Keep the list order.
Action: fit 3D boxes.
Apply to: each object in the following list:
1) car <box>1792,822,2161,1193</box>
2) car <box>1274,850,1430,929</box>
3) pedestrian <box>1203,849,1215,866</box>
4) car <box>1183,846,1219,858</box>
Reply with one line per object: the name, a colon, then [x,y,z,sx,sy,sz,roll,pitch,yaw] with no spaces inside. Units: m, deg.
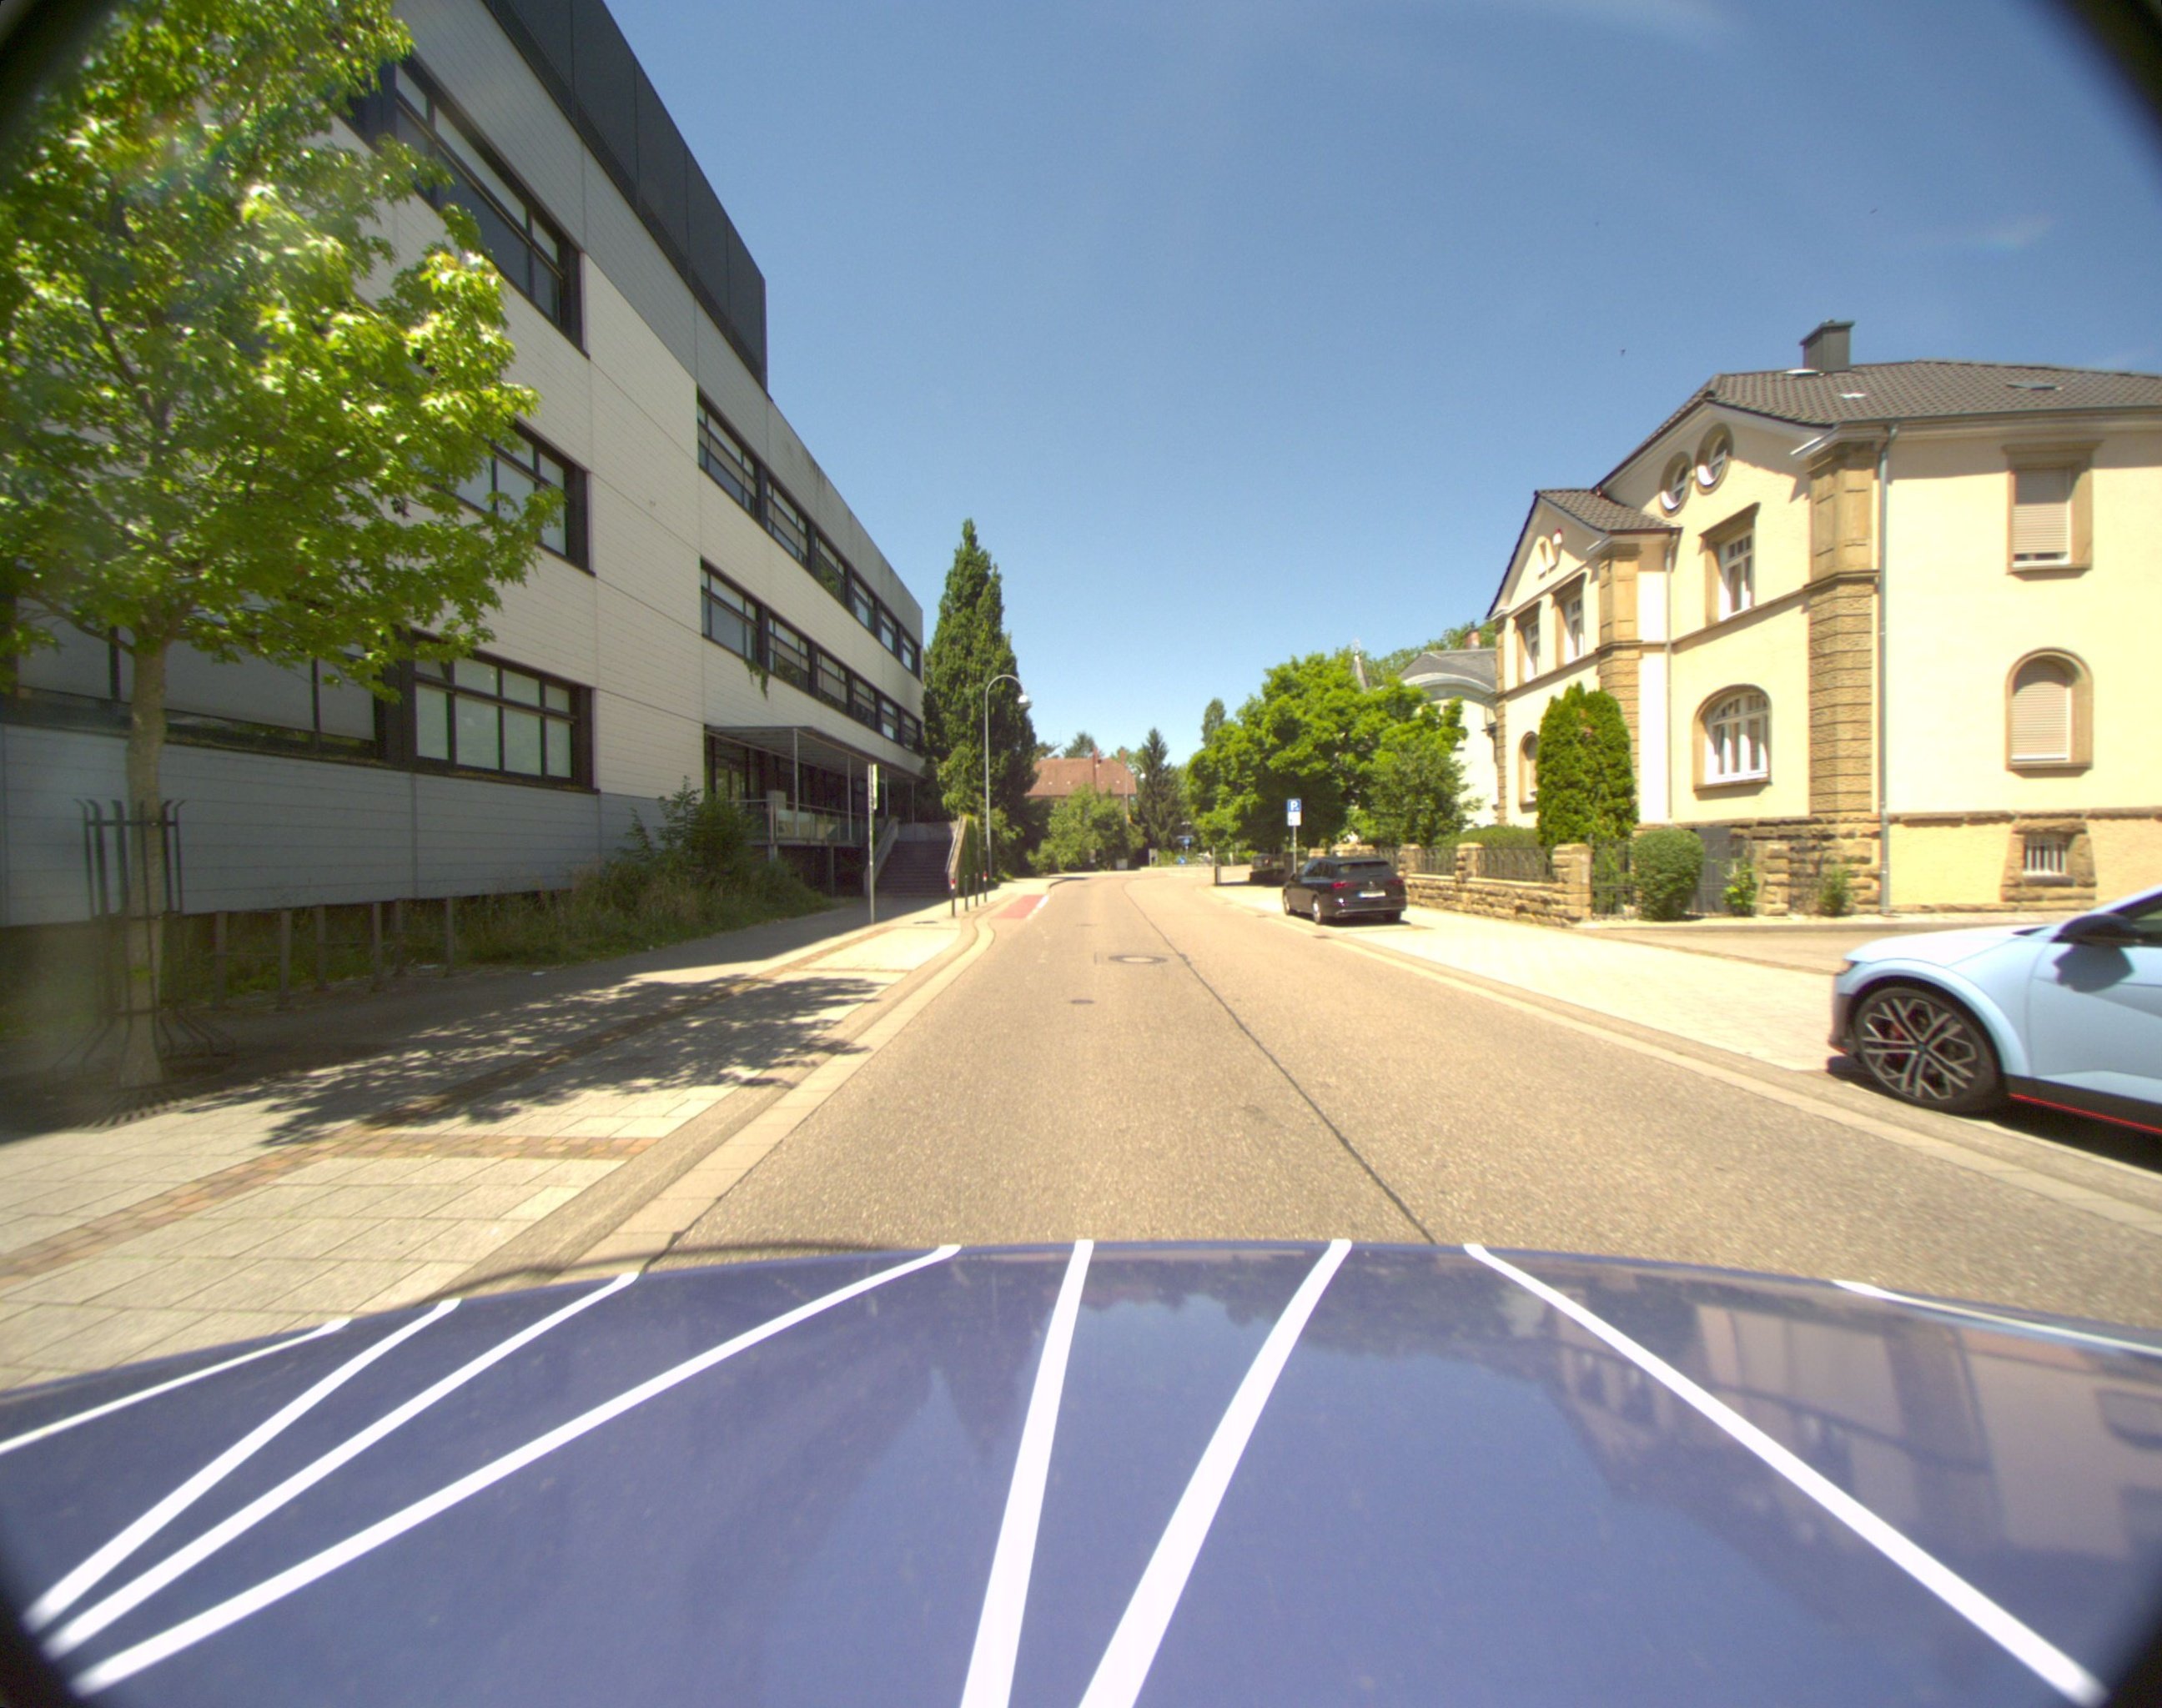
car: [5.716,0.667,2.744,1.930,1.564,4.659,-4,0,1]
car: [5.977,0.691,17.446,1.930,1.428,4.659,-4,0,1]
pedestrian: [14.040,0.376,83.312,0.917,1.762,0.912,-2,3,-40]
car: [16.188,-0.221,102.523,4.496,1.491,1.770,-2,0,1]
